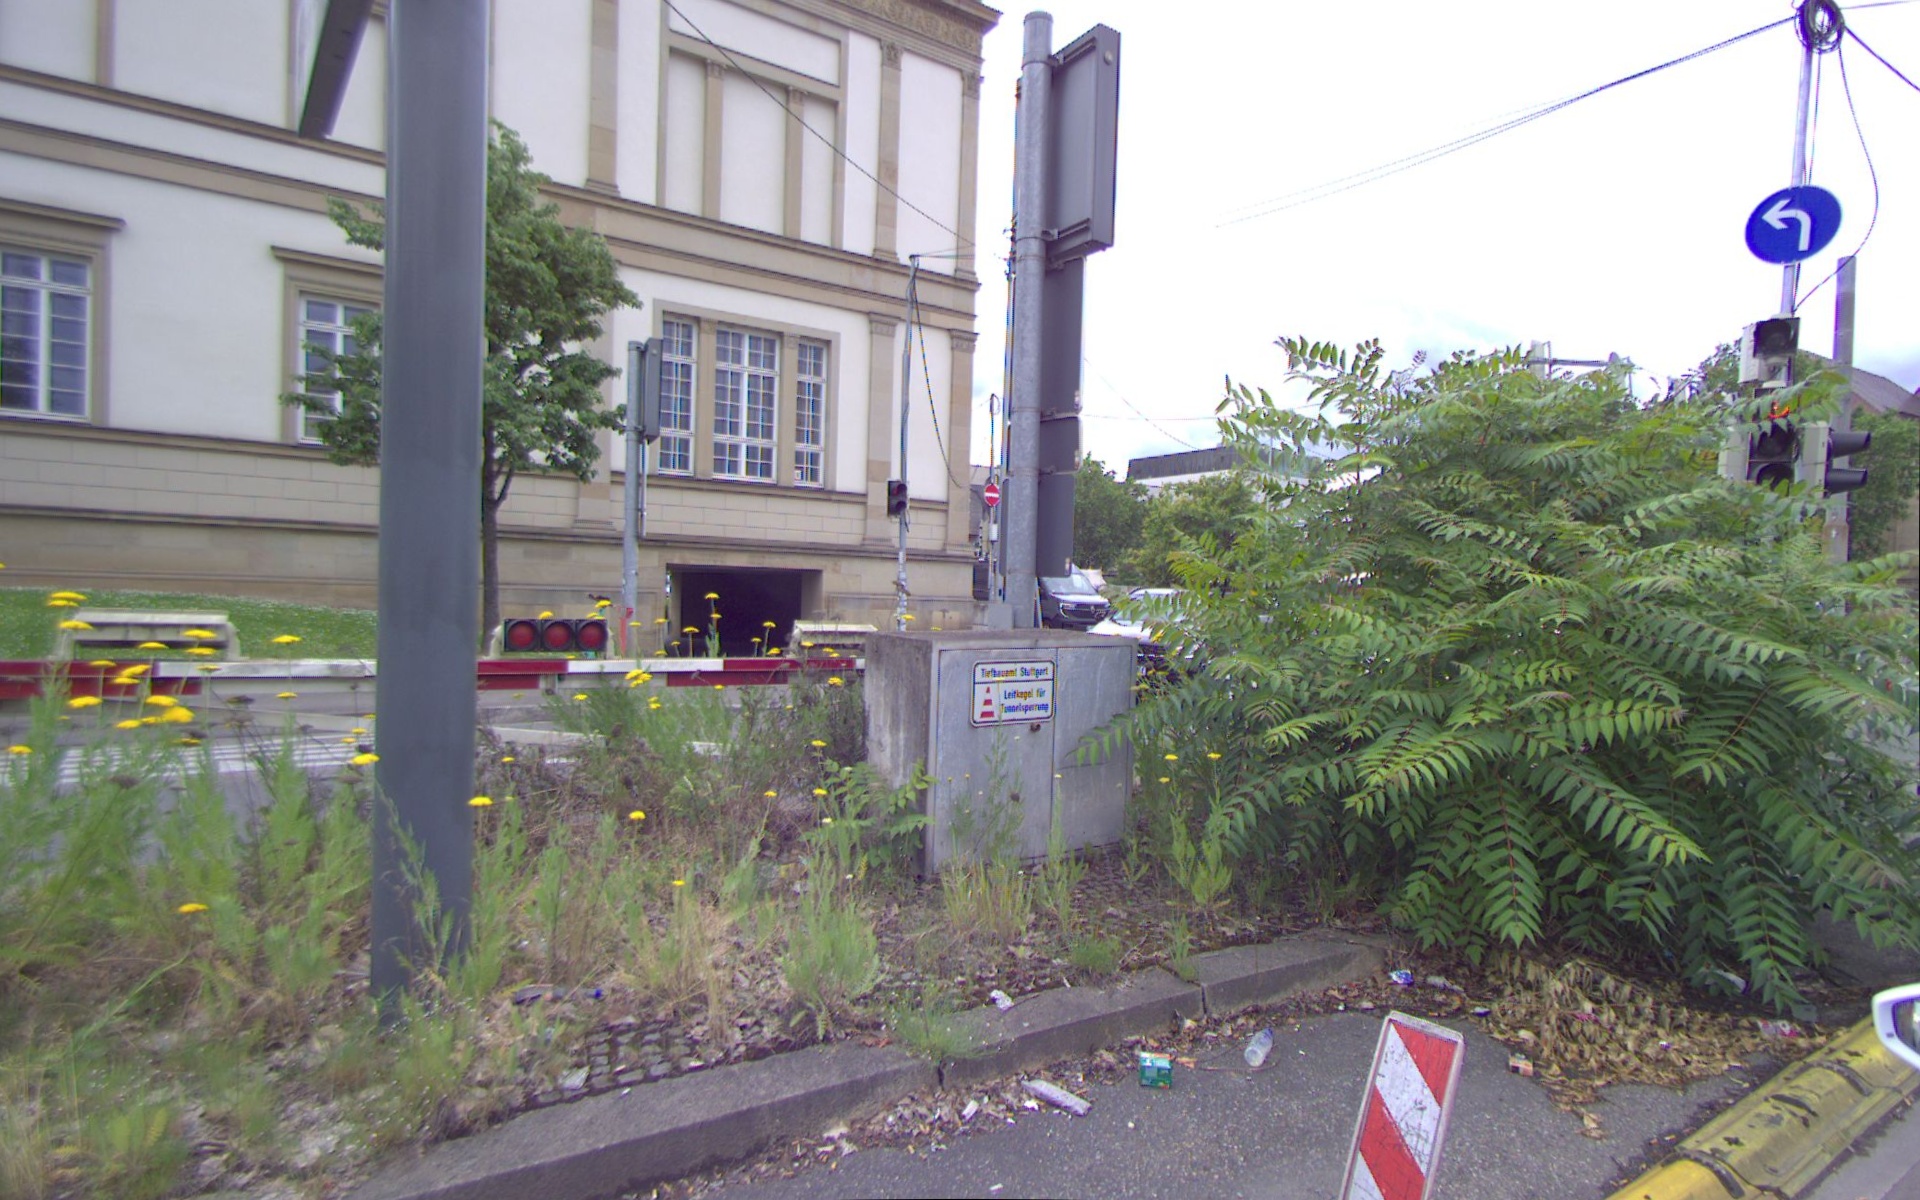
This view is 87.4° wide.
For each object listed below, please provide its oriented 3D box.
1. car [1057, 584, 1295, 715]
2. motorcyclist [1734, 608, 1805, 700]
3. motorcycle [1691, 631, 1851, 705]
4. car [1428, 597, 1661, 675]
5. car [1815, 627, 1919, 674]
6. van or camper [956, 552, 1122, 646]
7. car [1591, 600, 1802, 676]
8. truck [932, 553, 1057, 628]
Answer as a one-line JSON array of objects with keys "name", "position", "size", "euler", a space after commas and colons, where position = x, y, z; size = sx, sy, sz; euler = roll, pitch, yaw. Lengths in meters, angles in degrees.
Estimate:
[{"name": "car", "position": [3.381, 0.671, 15.073], "size": [1.855, 1.647, 4.355], "euler": [2, 0, 36]}, {"name": "motorcyclist", "position": [14.685, 0.960, 18.225], "size": [0.644, 1.618, 0.782], "euler": [2, 0, -29]}, {"name": "motorcycle", "position": [14.662, 1.201, 18.240], "size": [0.644, 1.170, 2.158], "euler": [2, 0, -28]}, {"name": "car", "position": [14.429, 0.831, 25.093], "size": [1.978, 1.725, 4.646], "euler": [2, 0, -31]}, {"name": "car", "position": [43.824, 2.372, 47.435], "size": [5.066, 2.040, 2.069], "euler": [2, 0, 38]}, {"name": "van or camper", "position": [2.284, -0.046, 31.194], "size": [2.134, 2.645, 6.036], "euler": [1, 0, -29]}, {"name": "car", "position": [19.827, 0.963, 27.270], "size": [1.970, 1.858, 4.236], "euler": [0, 0, -21]}, {"name": "truck", "position": [1.352, -0.356, 39.984], "size": [2.842, 2.761, 4.165], "euler": [2, 0, -43]}]
